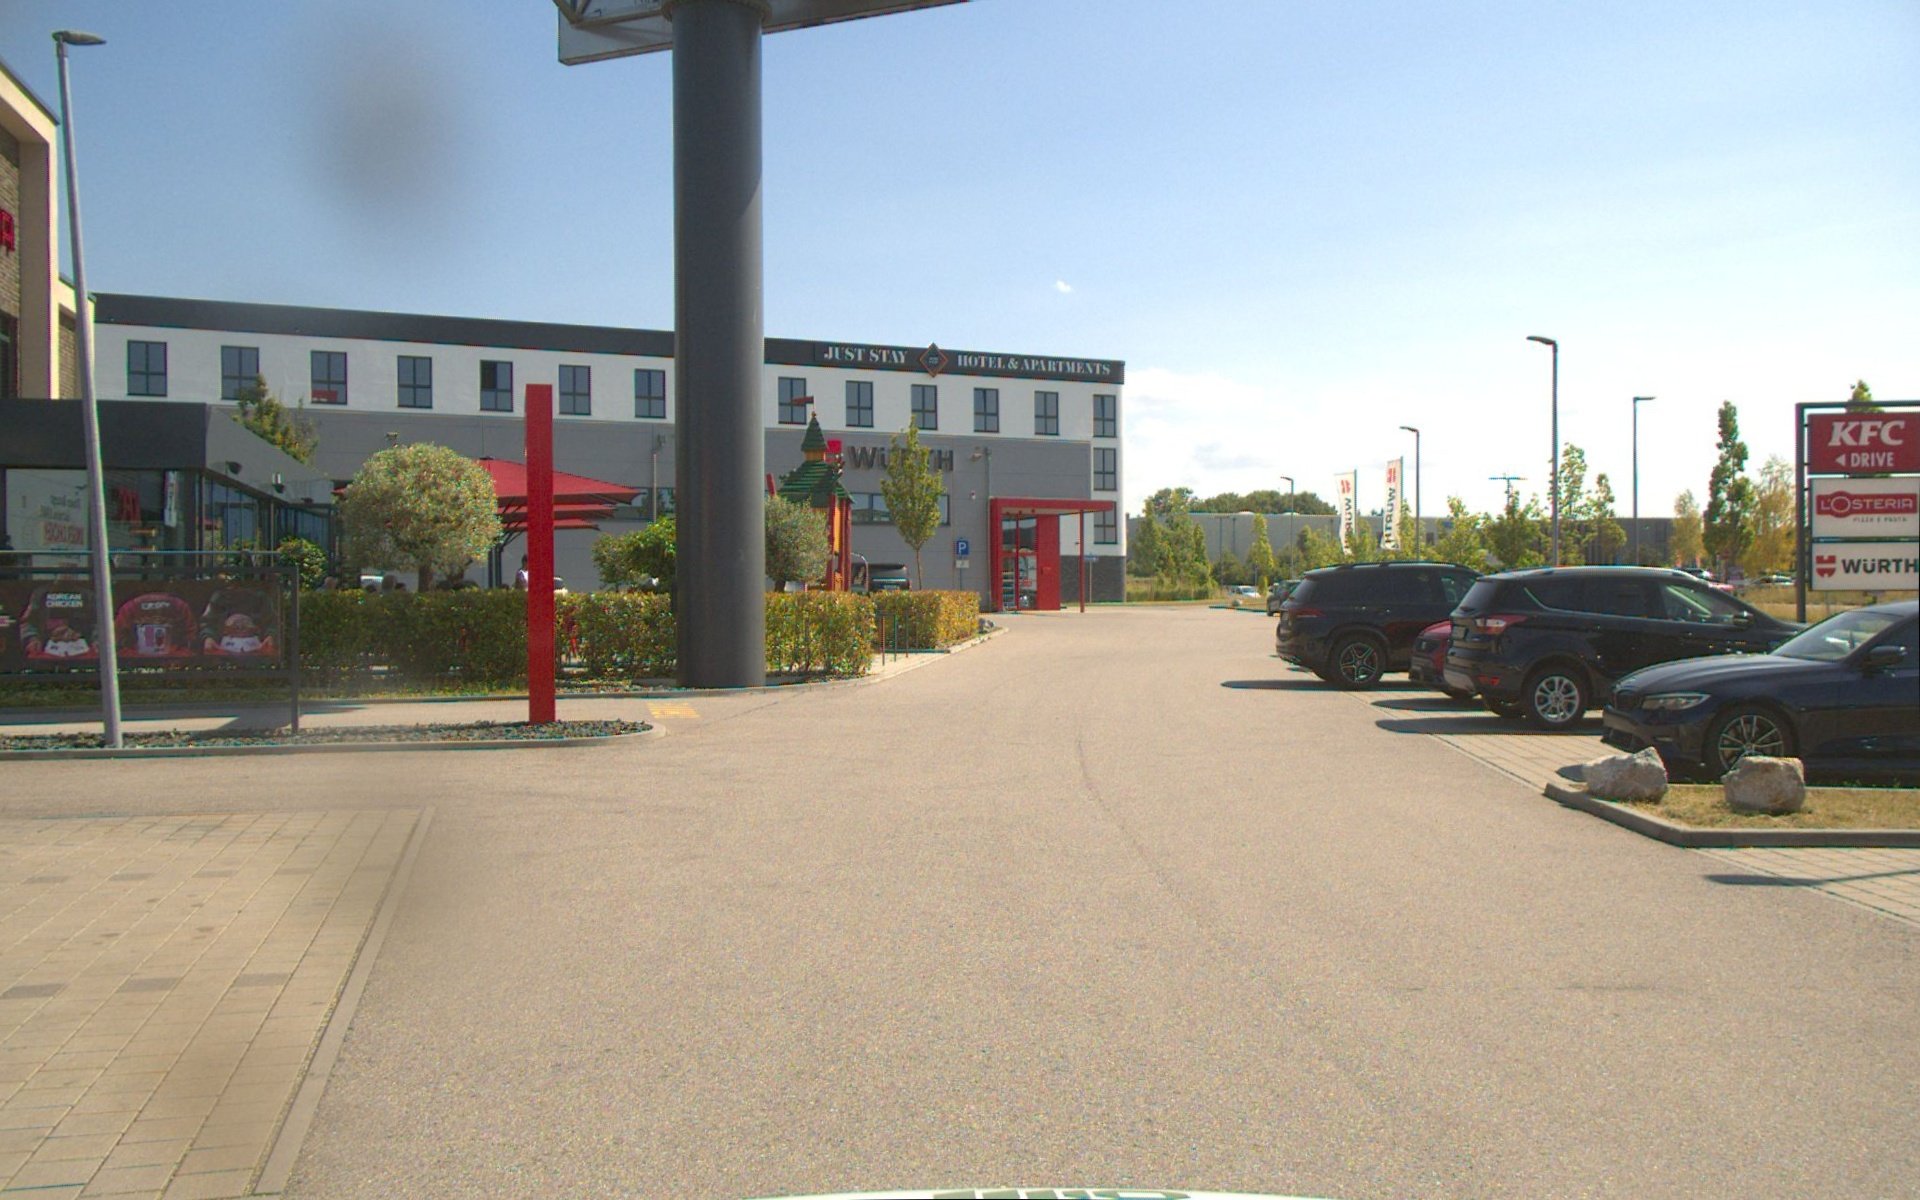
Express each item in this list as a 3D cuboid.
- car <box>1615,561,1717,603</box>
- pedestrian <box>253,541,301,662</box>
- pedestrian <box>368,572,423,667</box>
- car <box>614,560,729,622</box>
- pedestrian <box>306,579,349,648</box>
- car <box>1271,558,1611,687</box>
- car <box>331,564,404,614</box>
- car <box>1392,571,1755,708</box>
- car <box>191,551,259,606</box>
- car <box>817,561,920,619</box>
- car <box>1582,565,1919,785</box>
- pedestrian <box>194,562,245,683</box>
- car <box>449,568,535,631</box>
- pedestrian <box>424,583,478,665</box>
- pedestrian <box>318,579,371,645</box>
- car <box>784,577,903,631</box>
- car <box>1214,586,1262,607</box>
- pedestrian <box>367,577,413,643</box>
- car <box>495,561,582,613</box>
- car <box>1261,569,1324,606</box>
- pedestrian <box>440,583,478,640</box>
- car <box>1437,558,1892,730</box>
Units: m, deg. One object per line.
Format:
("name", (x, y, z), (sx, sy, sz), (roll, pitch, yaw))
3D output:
("car", (31.329, -0.825, 73.554), (1.957, 1.763, 4.749), (-1, 1, -9))
("pedestrian", (-8.801, 0.007, 21.324), (0.516, 1.531, 0.566), (-1, 1, -18))
("pedestrian", (-8.451, 0.285, 24.748), (0.644, 1.390, 0.475), (-1, 1, -41))
("car", (-7.819, -0.282, 44.579), (1.924, 1.557, 4.340), (-1, 1, -26))
("pedestrian", (-11.418, 0.234, 29.867), (0.698, 1.219, 0.663), (-1, 1, -23))
("car", (6.987, 0.306, 24.381), (4.480, 1.791, 1.896), (0, 0, 2))
("car", (-18.726, -0.365, 52.193), (1.710, 1.513, 3.918), (-1, 1, -26))
("car", (7.823, 0.472, 21.364), (3.984, 1.637, 1.896), (1, 1, 0))
("car", (-22.272, -0.672, 50.060), (1.710, 1.594, 3.918), (-1, 1, -26))
("car", (-3.274, -0.386, 58.241), (2.044, 1.913, 4.843), (-1, 1, -24))
("car", (7.600, 0.571, 13.528), (4.343, 1.666, 1.897), (0, 1, 4))
("pedestrian", (-9.497, 0.277, 21.231), (0.516, 1.531, 0.566), (-1, 1, -18))
("car", (-10.621, -0.033, 37.710), (1.614, 1.331, 3.830), (-1, 1, -12))
("pedestrian", (-7.693, 0.358, 24.997), (0.644, 1.205, 0.475), (-1, 1, -41))
("pedestrian", (-11.523, 0.219, 30.982), (0.693, 1.219, 0.617), (0, 1, 15))
("car", (-3.332, 0.073, 46.379), (1.840, 1.386, 4.340), (-1, 1, -26))
("car", (21.195, -0.291, 126.231), (1.846, 1.509, 3.974), (-1, 1, -22))
("pedestrian", (-10.721, 0.188, 31.115), (0.694, 1.219, 0.615), (0, 1, -7))
("car", (-13.947, -0.465, 54.549), (1.924, 1.613, 4.340), (-1, 1, -26))
("car", (13.289, -0.519, 66.224), (1.664, 1.430, 3.896), (0, 1, -1))
("pedestrian", (-9.885, 0.229, 32.661), (0.564, 1.108, 0.545), (0, 1, 1))
("car", (7.561, 0.433, 18.140), (4.226, 1.732, 1.897), (1, 0, 8))
